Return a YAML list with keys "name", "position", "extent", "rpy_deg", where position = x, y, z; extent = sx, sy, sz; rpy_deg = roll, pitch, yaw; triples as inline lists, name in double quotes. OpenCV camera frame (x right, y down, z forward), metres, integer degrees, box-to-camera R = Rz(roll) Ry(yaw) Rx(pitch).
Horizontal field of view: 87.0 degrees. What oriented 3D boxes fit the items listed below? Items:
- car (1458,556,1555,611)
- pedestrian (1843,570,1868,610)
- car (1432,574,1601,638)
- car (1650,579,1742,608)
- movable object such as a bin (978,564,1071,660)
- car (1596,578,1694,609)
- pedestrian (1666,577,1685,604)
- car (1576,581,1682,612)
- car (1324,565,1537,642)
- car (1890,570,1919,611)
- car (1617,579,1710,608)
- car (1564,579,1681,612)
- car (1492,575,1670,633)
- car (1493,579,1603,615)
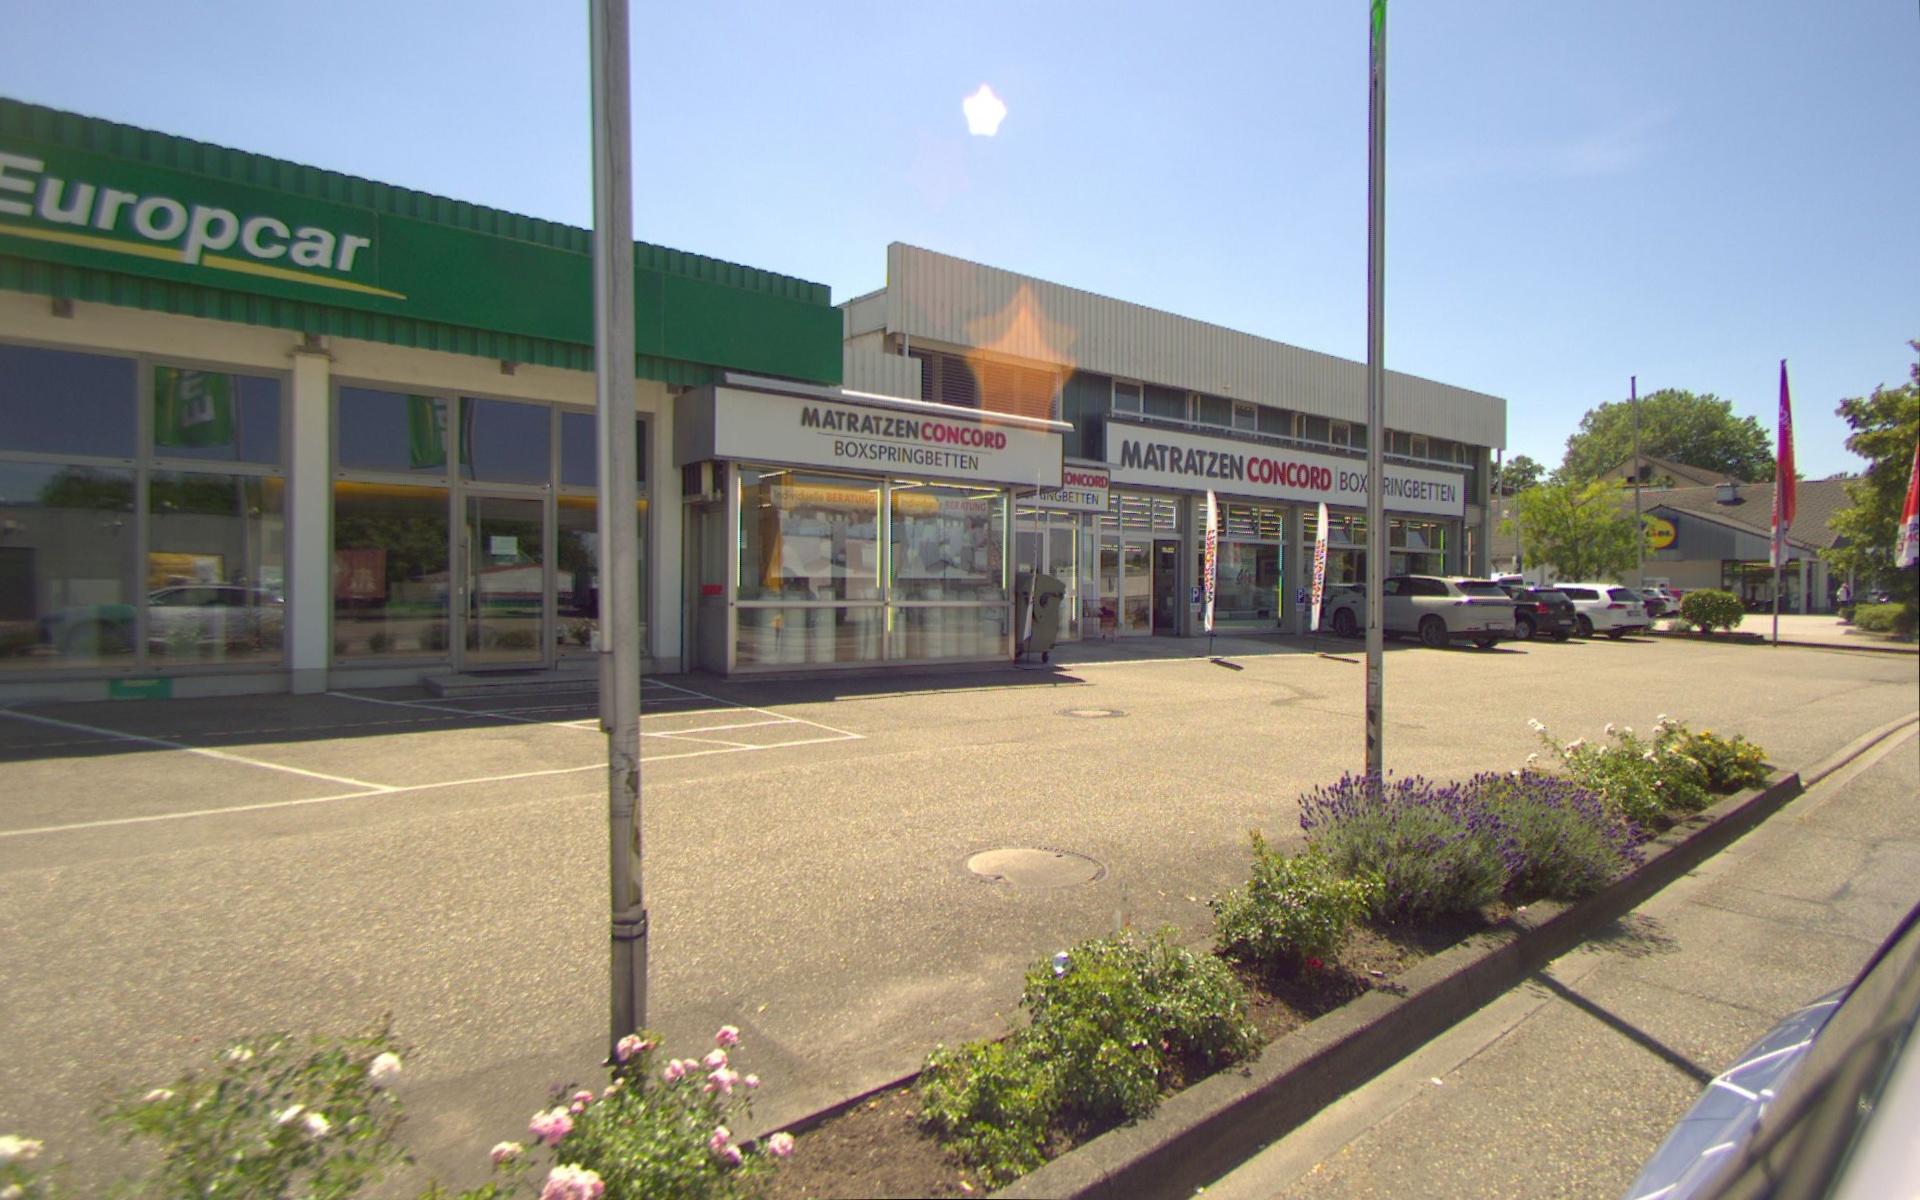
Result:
- name: "car"
  position: [20.124, -0.615, 37.228]
  extent: [4.182, 1.914, 1.709]
  rpy_deg: [-1, 2, -40]
- name: "pedestrian"
  position: [45.784, -0.507, 51.722]
  extent: [0.789, 2.038, 0.784]
  rpy_deg: [-1, 2, -37]
- name: "car"
  position: [15.122, 0.112, 27.733]
  extent: [1.643, 1.551, 3.876]
  rpy_deg: [0, 2, -22]
- name: "car"
  position: [39.015, -0.365, 53.697]
  extent: [1.640, 1.434, 3.608]
  rpy_deg: [0, 1, -36]
- name: "movable object such as a bin"
  position: [1.044, 0.173, 16.752]
  extent: [0.688, 1.439, 1.570]
  rpy_deg: [0, 4, -33]
- name: "car"
  position: [34.786, -0.344, 51.471]
  extent: [1.784, 1.523, 3.734]
  rpy_deg: [0, 1, -36]
- name: "pedestrian"
  position: [43.220, -0.588, 61.135]
  extent: [0.548, 1.571, 0.803]
  rpy_deg: [-1, 2, -37]
- name: "car"
  position: [32.869, -0.201, 49.832]
  extent: [1.695, 1.495, 4.031]
  rpy_deg: [-1, 1, -35]
- name: "car"
  position: [11.272, 0.003, 24.645]
  extent: [1.958, 1.662, 4.607]
  rpy_deg: [0, 2, -21]
- name: "car"
  position: [40.818, -0.369, 40.804]
  extent: [1.857, 1.688, 4.533]
  rpy_deg: [0, 1, -32]
- name: "car"
  position: [36.657, -0.363, 52.805]
  extent: [1.713, 1.476, 3.608]
  rpy_deg: [0, 1, -36]
- name: "car"
  position: [31.091, -0.261, 47.588]
  extent: [1.867, 1.408, 4.253]
  rpy_deg: [-1, 2, -39]
- name: "car"
  position: [17.582, 0.055, 28.862]
  extent: [1.768, 1.478, 4.008]
  rpy_deg: [0, 2, -25]
- name: "car"
  position: [26.315, -0.173, 45.407]
  extent: [1.623, 1.551, 3.993]
  rpy_deg: [-1, 1, -41]
